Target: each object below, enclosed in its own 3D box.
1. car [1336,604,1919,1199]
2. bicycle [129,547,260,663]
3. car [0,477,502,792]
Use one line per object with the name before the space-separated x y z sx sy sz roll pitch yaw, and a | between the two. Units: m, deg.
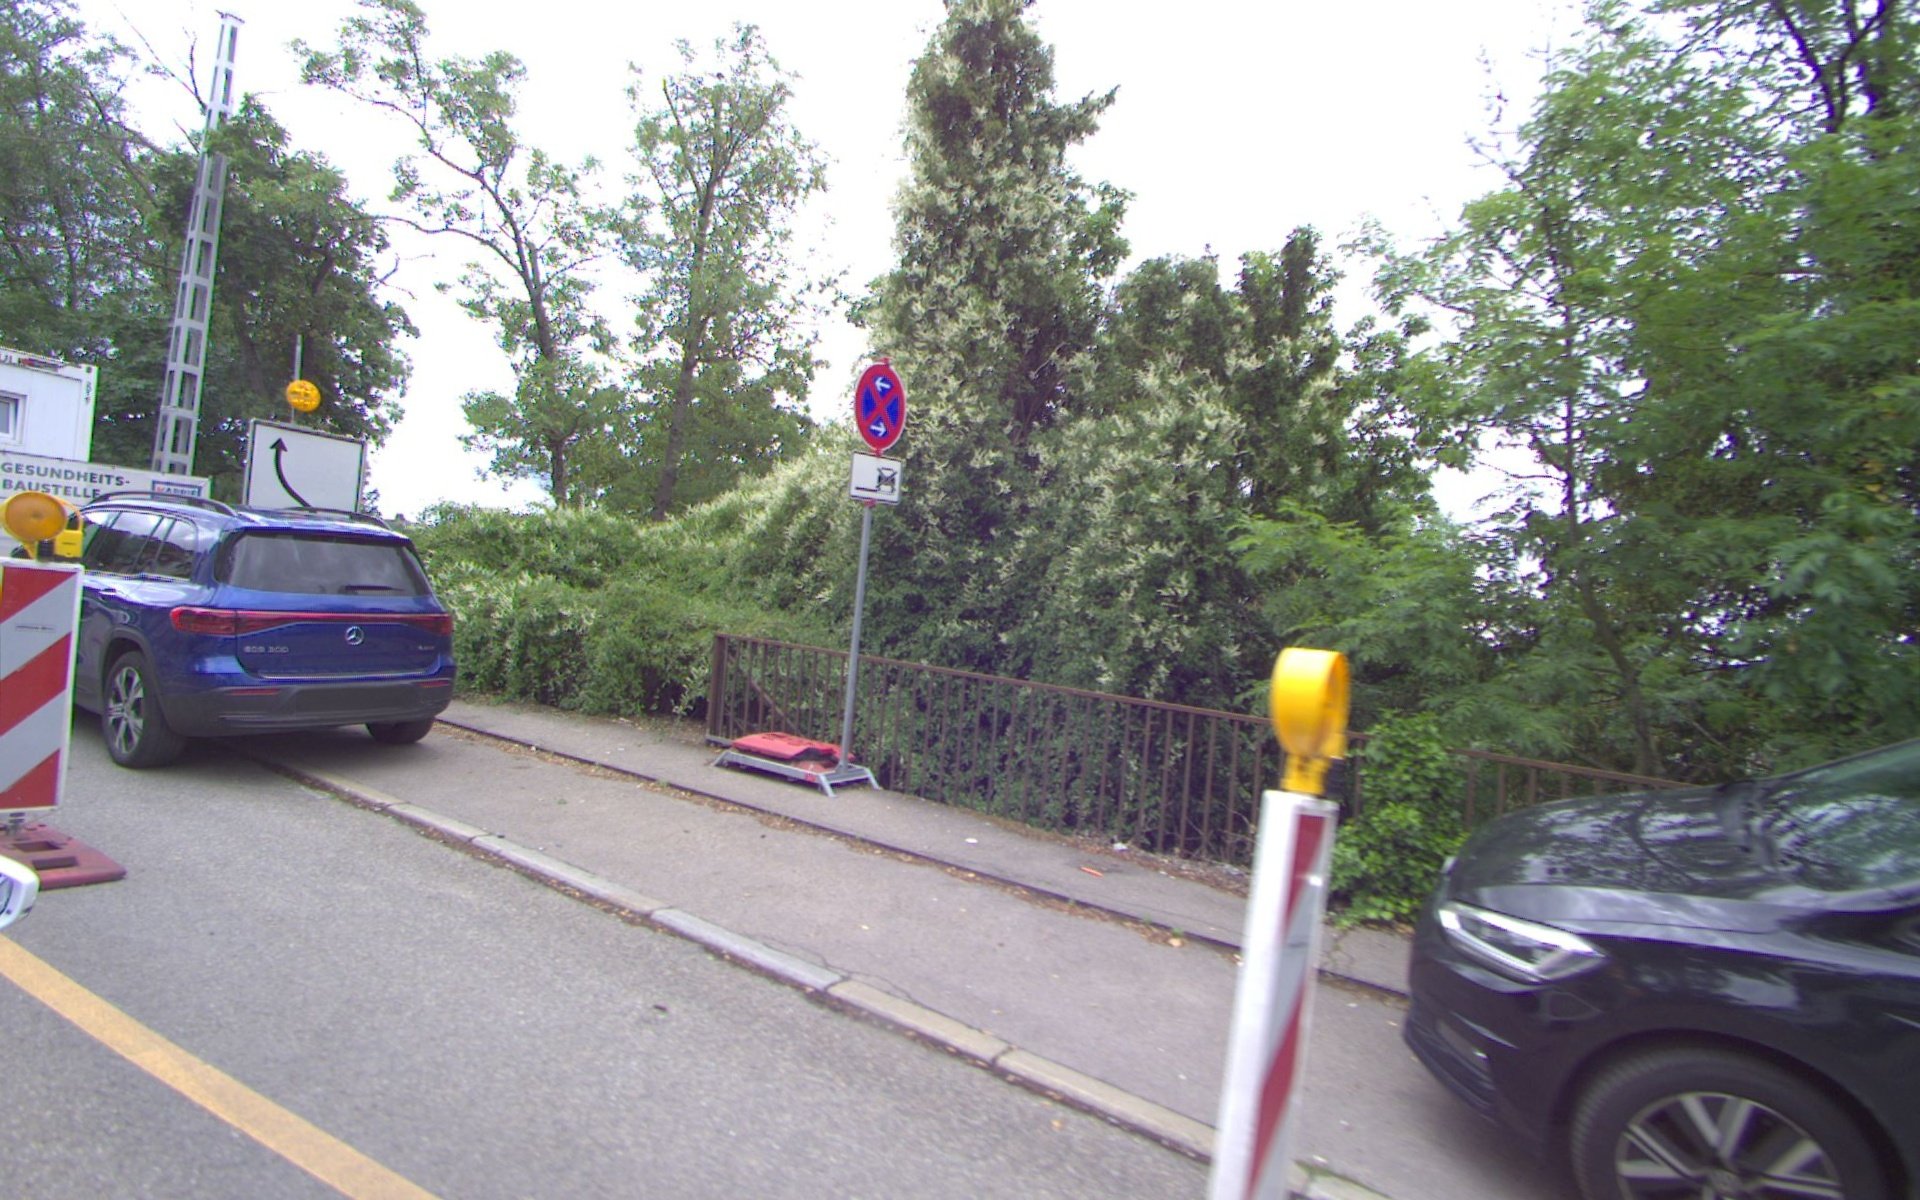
car | 3.584 1.064 2.490 4.570 1.697 1.860 6 4 32
bicycle | -8.678 0.041 11.379 1.770 1.122 0.499 7 2 31
car | -5.653 0.073 7.499 4.428 1.664 1.840 6 2 31
